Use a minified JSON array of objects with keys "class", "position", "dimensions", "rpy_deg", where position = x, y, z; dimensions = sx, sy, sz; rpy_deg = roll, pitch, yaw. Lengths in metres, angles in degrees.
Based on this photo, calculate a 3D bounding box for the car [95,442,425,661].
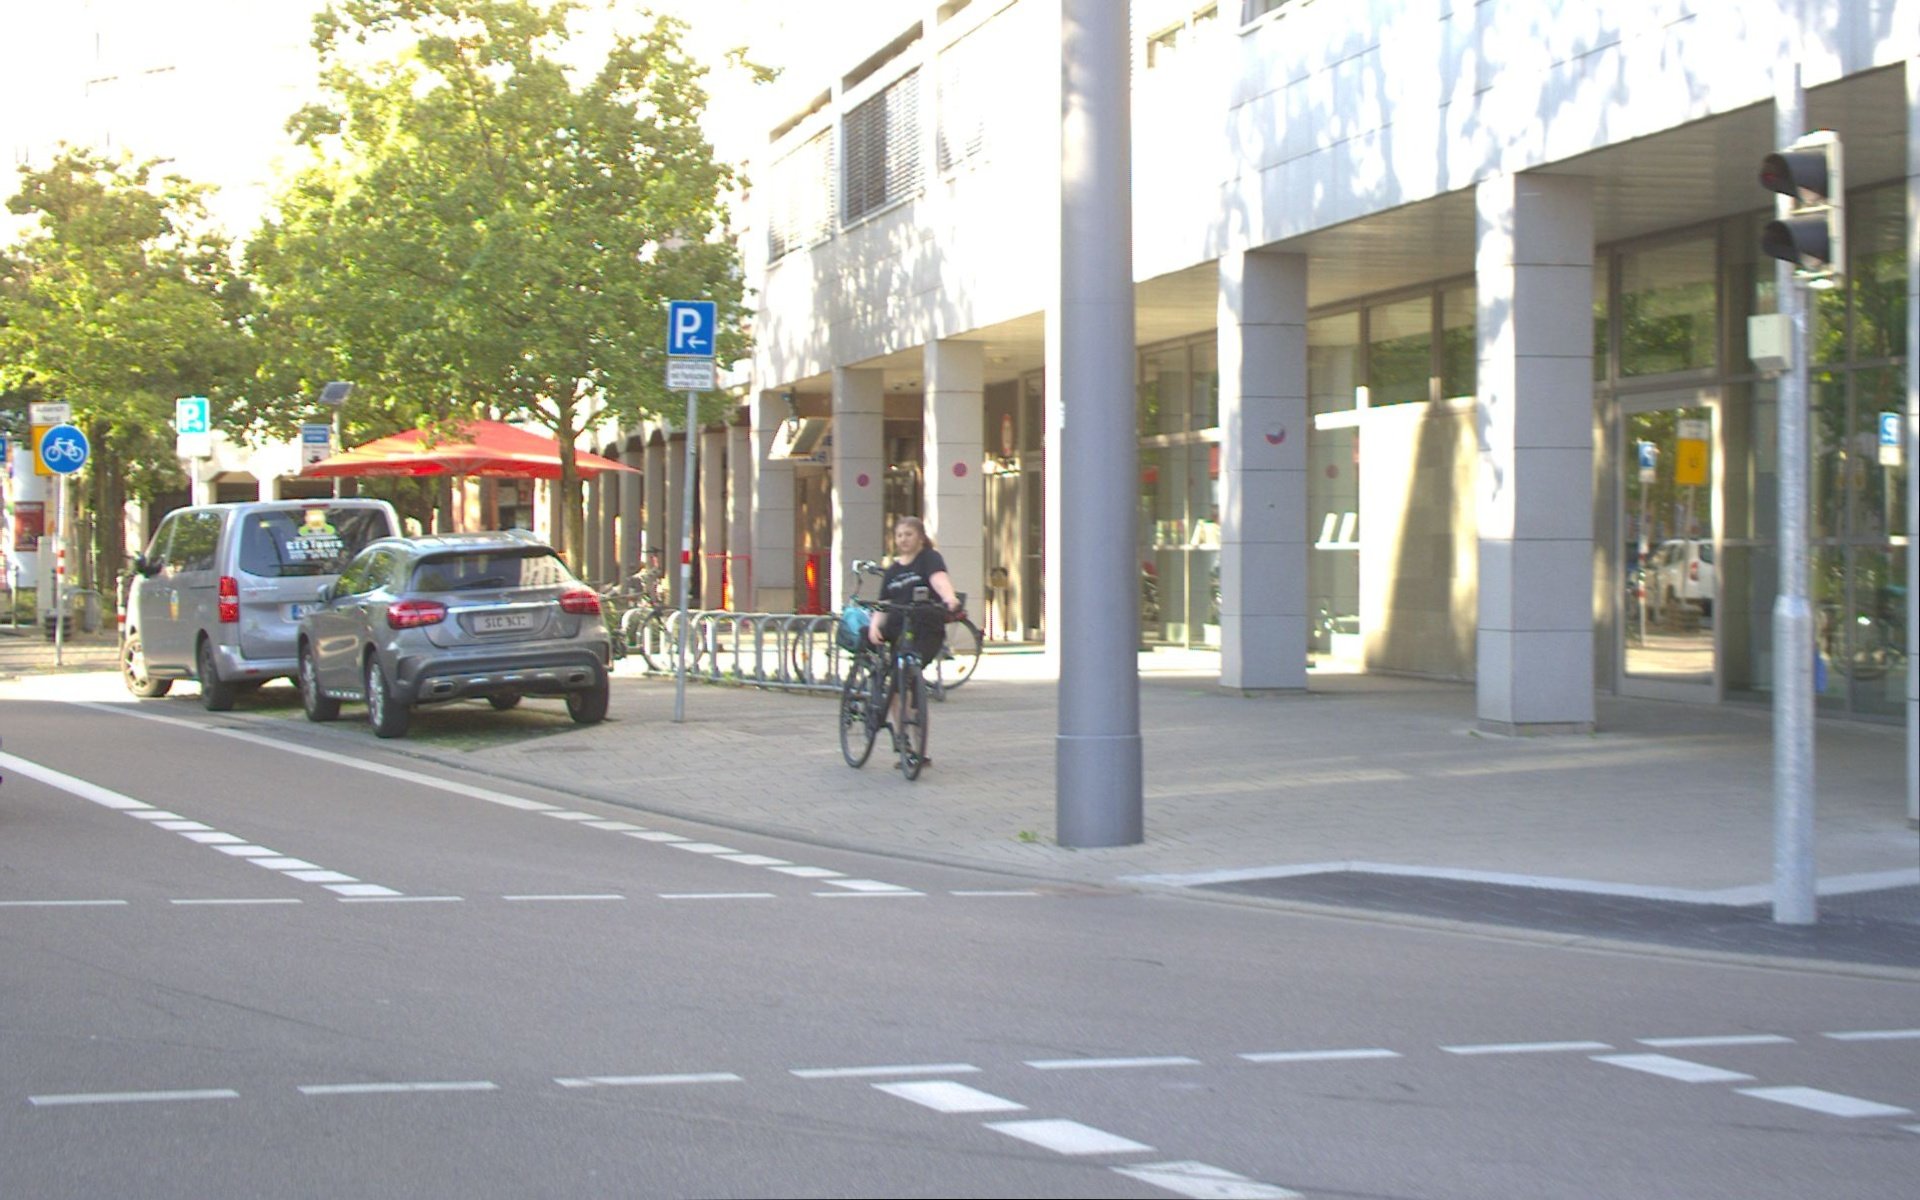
[{"class":"car","position":[-6.742,-0.507,32.702],"dimensions":[1.922,1.837,4.926],"rpy_deg":[-4,3,-24]}]

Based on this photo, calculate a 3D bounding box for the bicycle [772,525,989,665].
[{"class":"bicycle","position":[-0.701,-0.053,30.408],"dimensions":[1.832,1.147,0.470],"rpy_deg":[-3,3,-19]}]

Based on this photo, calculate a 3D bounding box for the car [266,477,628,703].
[{"class":"car","position":[-4.210,-0.152,27.641],"dimensions":[1.859,1.567,4.416],"rpy_deg":[-4,3,-21]}]

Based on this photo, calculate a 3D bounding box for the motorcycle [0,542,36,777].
[{"class":"motorcycle","position":[-5.521,0.266,17.914],"dimensions":[1.005,1.121,2.324],"rpy_deg":[-2,4,-24]}]

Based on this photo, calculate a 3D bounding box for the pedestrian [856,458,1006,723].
[{"class":"pedestrian","position":[-0.192,-0.076,21.830],"dimensions":[0.604,1.605,0.838],"rpy_deg":[-4,4,-22]}]

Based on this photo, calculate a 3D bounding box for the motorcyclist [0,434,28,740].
[{"class":"motorcyclist","position":[-5.484,-0.083,17.835],"dimensions":[1.022,1.547,1.287],"rpy_deg":[-2,3,-25]}]

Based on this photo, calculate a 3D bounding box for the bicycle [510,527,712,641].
[{"class":"bicycle","position":[-3.501,-0.175,34.521],"dimensions":[1.866,1.097,0.741],"rpy_deg":[-1,2,-27]}]

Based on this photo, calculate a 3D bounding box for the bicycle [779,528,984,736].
[{"class":"bicycle","position":[-0.517,0.174,21.672],"dimensions":[0.610,1.159,1.849],"rpy_deg":[-5,5,-22]}]

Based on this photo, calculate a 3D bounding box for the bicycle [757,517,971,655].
[{"class":"bicycle","position":[-0.860,-0.135,30.856],"dimensions":[1.832,1.147,0.470],"rpy_deg":[-3,3,-19]}]
